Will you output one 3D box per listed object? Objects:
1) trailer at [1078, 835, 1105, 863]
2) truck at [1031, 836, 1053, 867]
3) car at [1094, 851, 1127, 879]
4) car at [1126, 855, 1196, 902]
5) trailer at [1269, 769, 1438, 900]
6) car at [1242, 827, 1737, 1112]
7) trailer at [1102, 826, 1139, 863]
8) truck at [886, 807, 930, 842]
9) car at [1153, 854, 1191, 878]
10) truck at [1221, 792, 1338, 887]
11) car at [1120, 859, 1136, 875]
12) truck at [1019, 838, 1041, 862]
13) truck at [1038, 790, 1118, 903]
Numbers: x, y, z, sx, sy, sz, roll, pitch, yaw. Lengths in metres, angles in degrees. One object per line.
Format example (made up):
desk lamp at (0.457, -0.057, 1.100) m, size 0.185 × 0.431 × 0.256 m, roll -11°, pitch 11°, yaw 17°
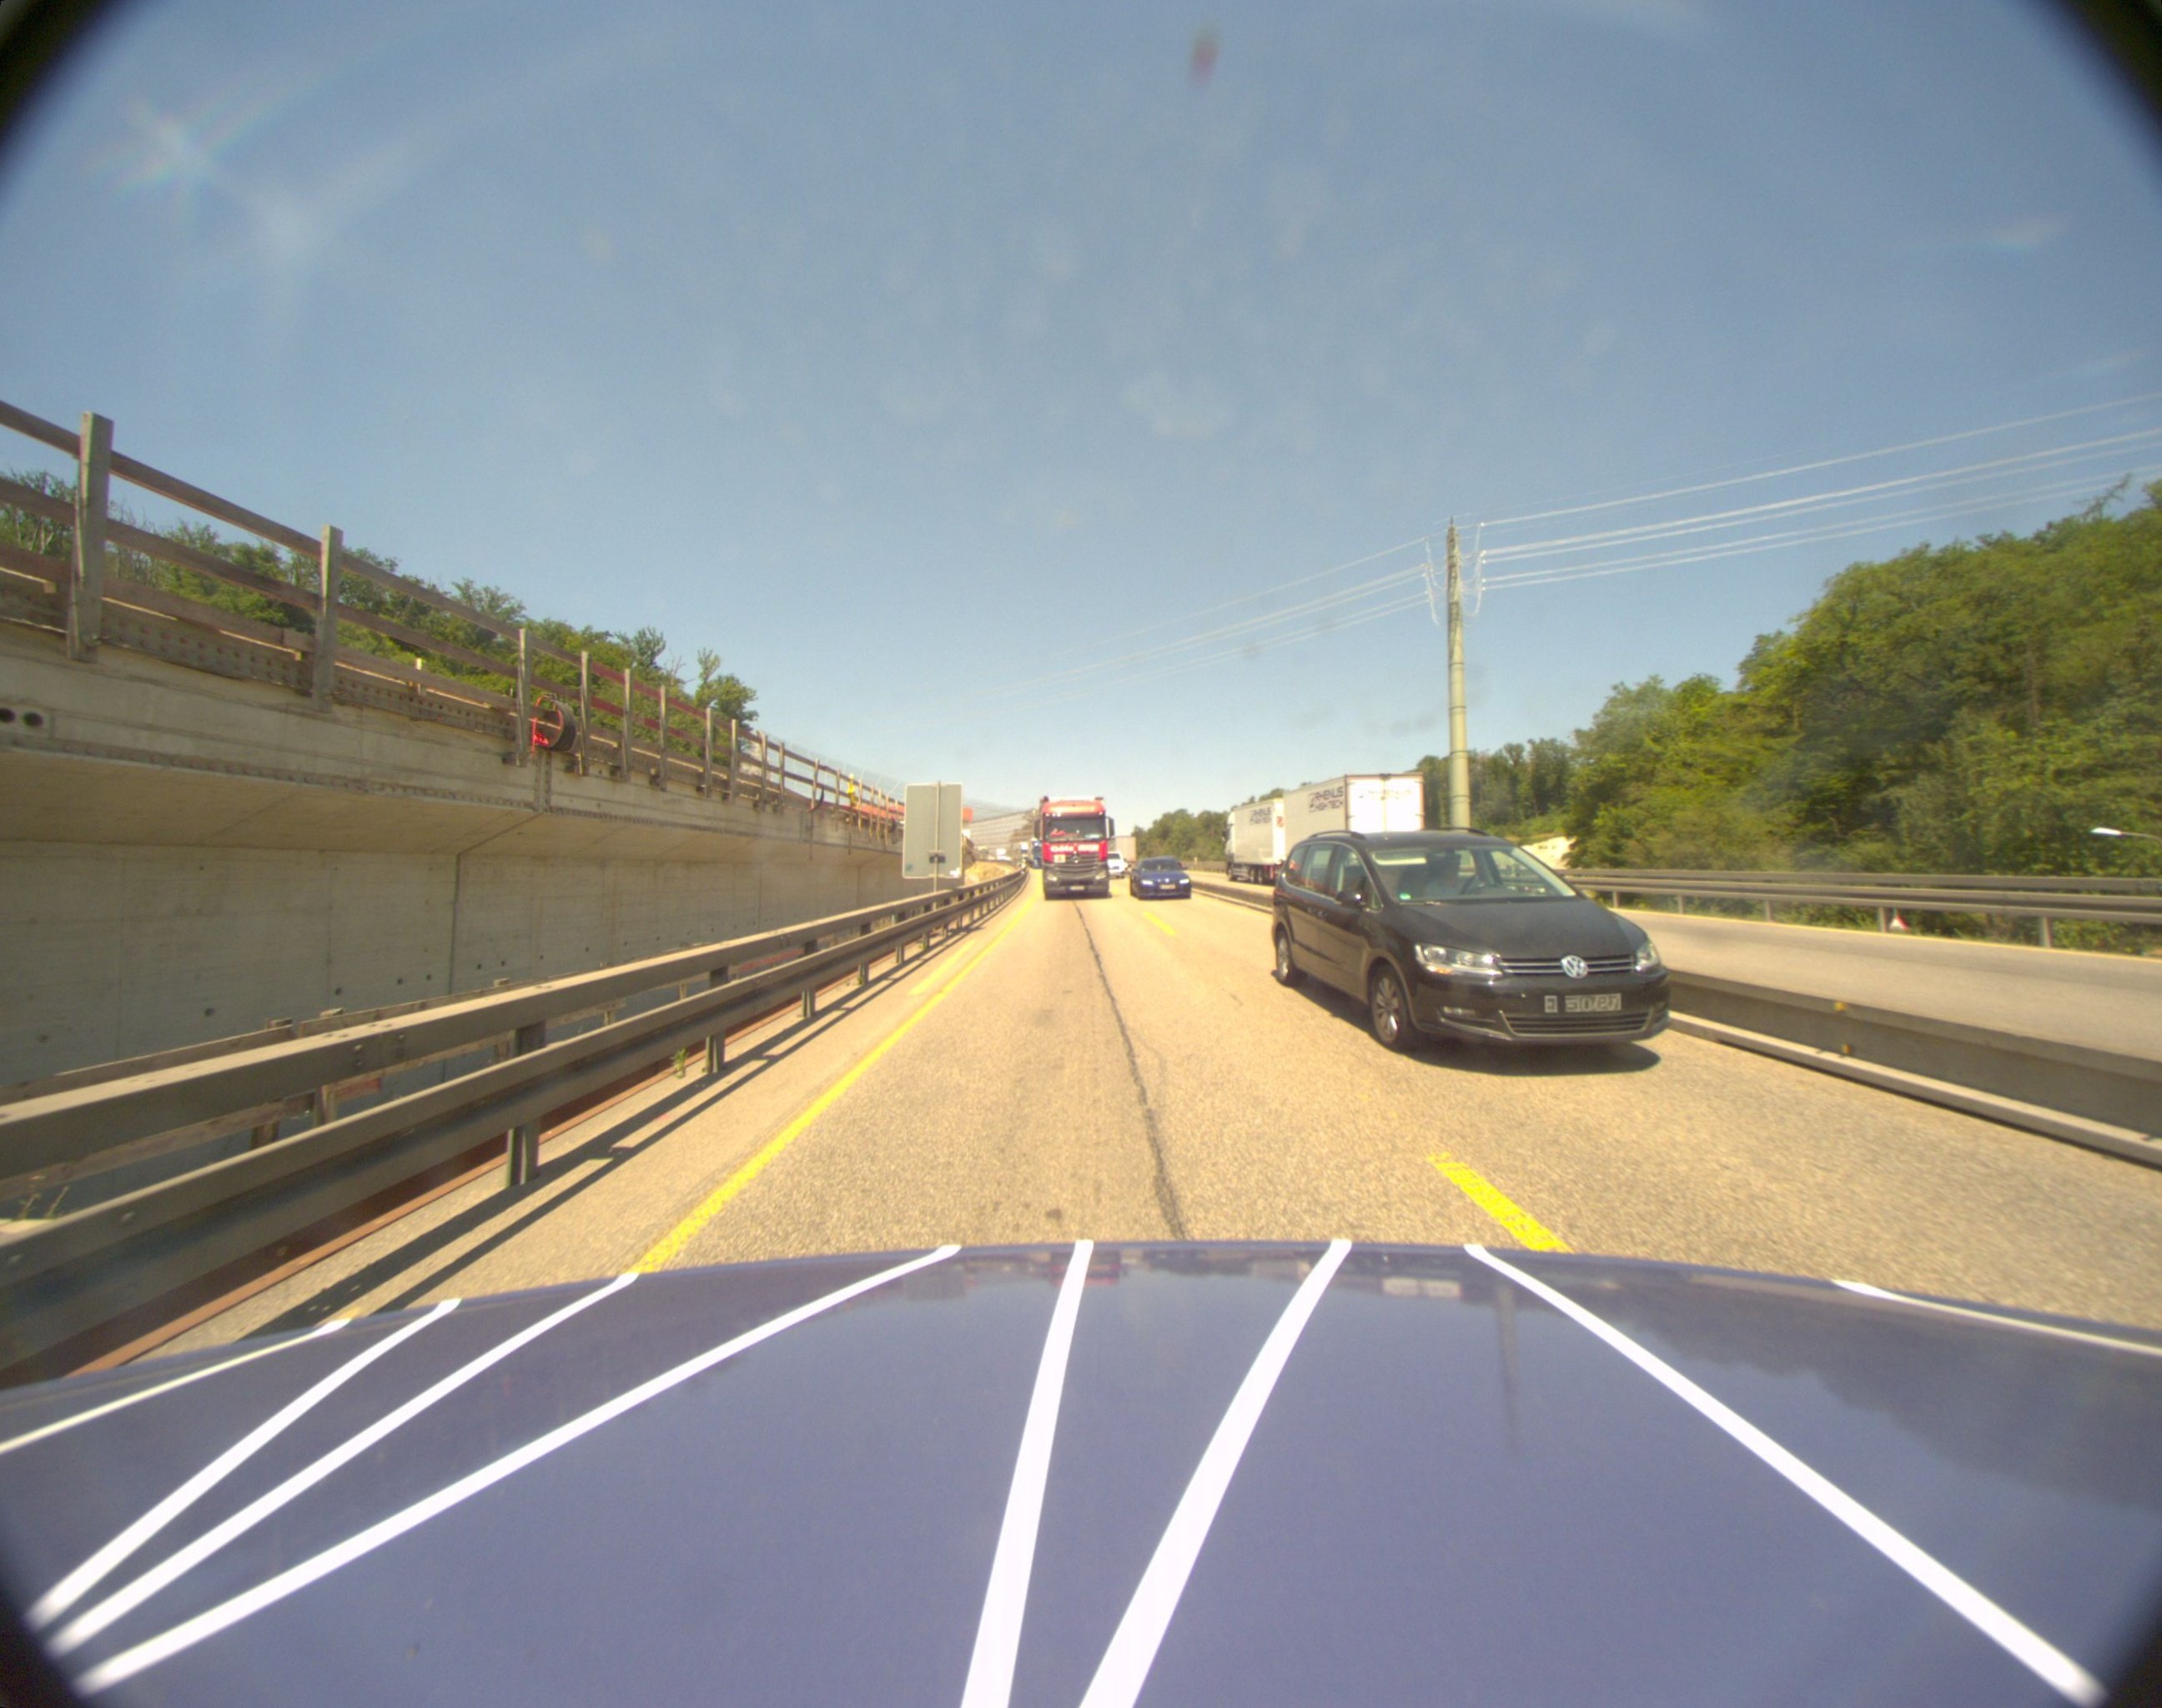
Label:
trailer at (1.820, -0.898, 139.045) m, size 3.074 × 4.787 × 13.994 m, roll -2°, pitch 0°, yaw -6°
truck at (-5.488, -0.327, 105.045) m, size 2.672 × 3.985 × 10.425 m, roll -1°, pitch 0°, yaw -5°
car at (2.031, 0.752, 54.163) m, size 1.947 × 1.858 × 5.222 m, roll -1°, pitch 0°, yaw -2°
car at (2.858, 0.857, 28.152) m, size 1.896 × 1.546 × 4.785 m, roll -1°, pitch 0°, yaw -2°
trailer at (9.928, -0.637, 29.104) m, size 3.011 × 4.141 × 9.015 m, roll -1°, pitch 0°, yaw -1°
car at (3.051, 0.717, 7.273) m, size 1.861 × 1.695 × 5.303 m, roll -1°, pitch 0°, yaw 0°
trailer at (5.228, -1.215, 103.751) m, size 2.842 × 4.614 × 14.573 m, roll -2°, pitch 0°, yaw -5°
truck at (-20.801, -3.489, 91.627) m, size 2.714 × 3.672 × 5.720 m, roll -1°, pitch -2°, yaw 18°
car at (6.077, 0.780, 51.209) m, size 1.786 × 1.470 × 4.620 m, roll -1°, pitch 0°, yaw -2°
truck at (9.747, -0.619, 38.887) m, size 2.986 × 4.137 × 10.544 m, roll -2°, pitch 0°, yaw -1°
car at (4.952, 1.322, 80.166) m, size 1.585 × 1.513 × 4.154 m, roll -1°, pitch 1°, yaw 2°
truck at (-9.728, -0.772, 143.465) m, size 2.912 × 4.208 × 9.230 m, roll -2°, pitch 1°, yaw -12°
truck at (-0.349, -0.377, 32.536) m, size 2.799 × 3.986 × 10.425 m, roll -2°, pitch 1°, yaw -3°
